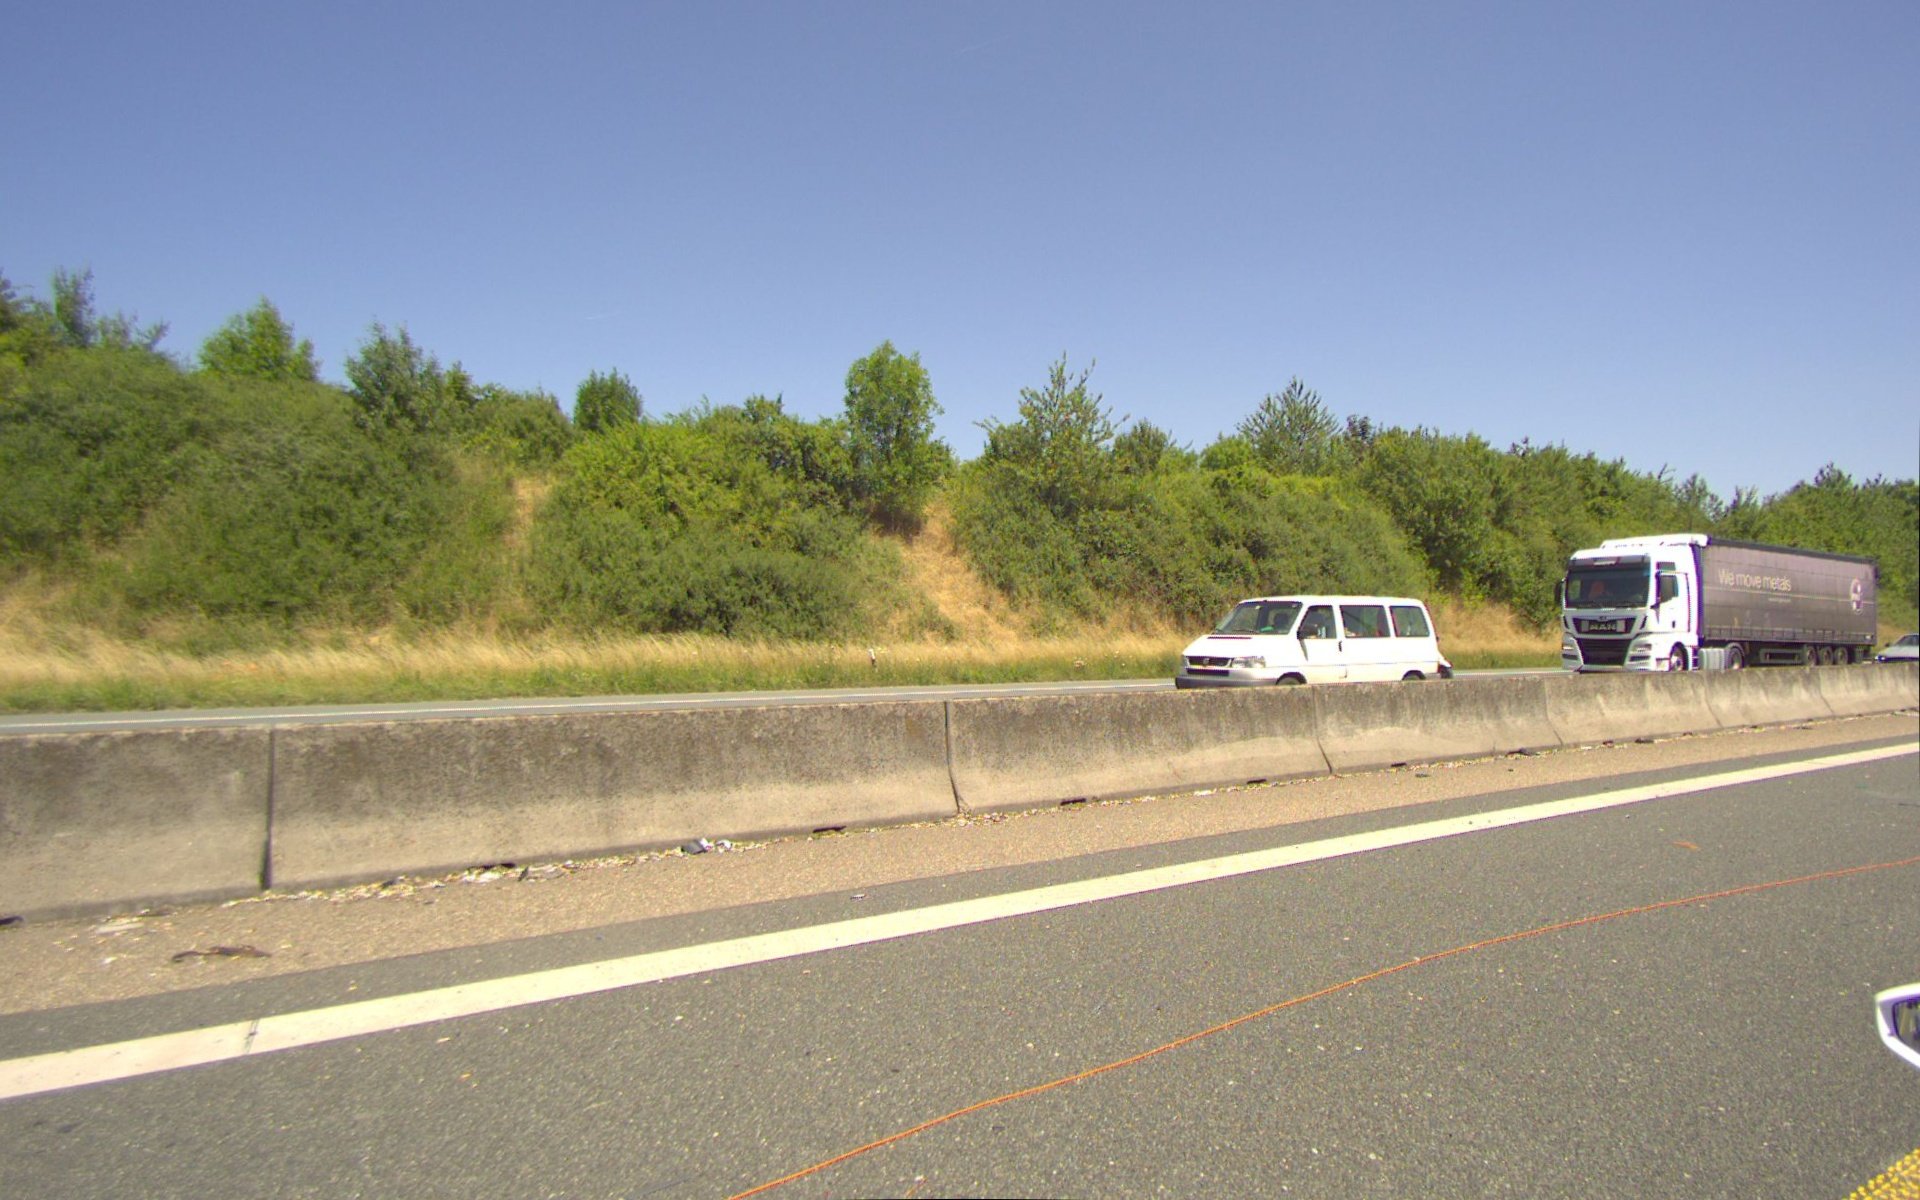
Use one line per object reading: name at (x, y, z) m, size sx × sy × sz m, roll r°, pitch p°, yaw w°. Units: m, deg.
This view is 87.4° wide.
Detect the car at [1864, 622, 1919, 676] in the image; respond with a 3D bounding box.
car at (28.572, 1.408, 29.472) m, size 4.579 × 1.491 × 1.754 m, roll 1°, pitch -1°, yaw -30°

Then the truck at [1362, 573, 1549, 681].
truck at (16.811, 0.920, 33.901) m, size 6.846 × 3.331 × 2.451 m, roll 1°, pitch -1°, yaw -32°

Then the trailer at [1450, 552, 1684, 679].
trailer at (23.127, 0.645, 37.850) m, size 11.950 × 4.235 × 2.467 m, roll 1°, pitch -1°, yaw -32°

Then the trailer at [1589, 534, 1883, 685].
trailer at (25.777, 0.409, 32.942) m, size 13.531 × 4.235 × 3.143 m, roll 1°, pitch -1°, yaw -32°

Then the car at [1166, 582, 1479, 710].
car at (6.038, 0.719, 16.469) m, size 5.392 × 1.816 × 1.857 m, roll 1°, pitch -1°, yaw -31°

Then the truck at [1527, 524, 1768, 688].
truck at (20.246, 0.233, 29.484) m, size 7.331 × 4.281 × 3.147 m, roll 1°, pitch -1°, yaw -31°
